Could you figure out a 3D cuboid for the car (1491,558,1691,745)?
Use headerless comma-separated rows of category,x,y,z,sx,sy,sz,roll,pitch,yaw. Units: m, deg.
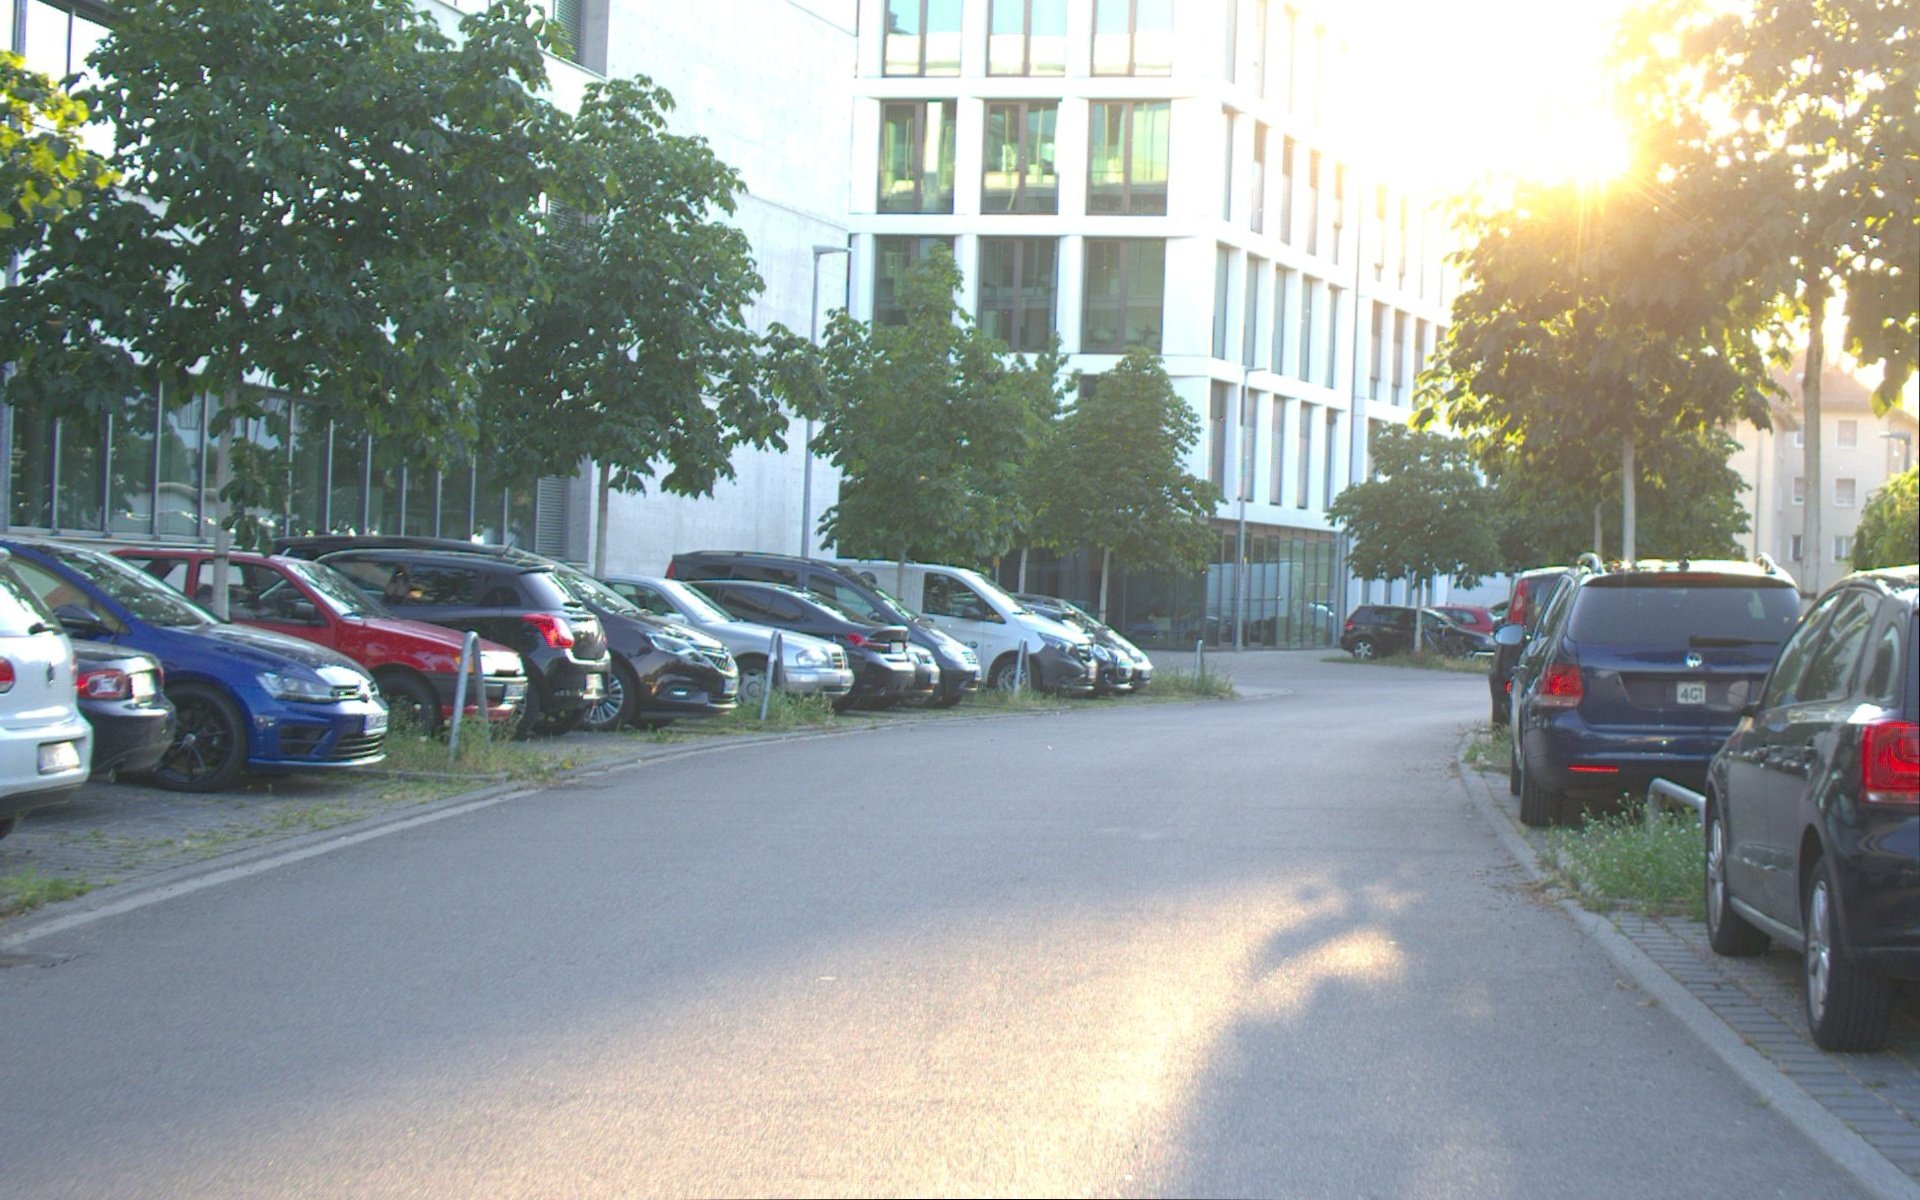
car,5.480,0.429,29.809,1.578,1.504,3.494,1,0,11

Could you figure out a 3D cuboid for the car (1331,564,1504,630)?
car,11.842,-0.074,88.938,4.054,1.474,1.766,3,1,21

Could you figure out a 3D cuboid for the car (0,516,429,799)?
car,-5.381,0.278,20.910,3.871,1.506,1.759,3,1,6

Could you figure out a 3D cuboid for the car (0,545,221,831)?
car,-5.895,0.360,17.949,3.633,1.357,1.686,3,1,1

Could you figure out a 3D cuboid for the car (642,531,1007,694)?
car,-1.705,0.152,43.826,4.249,1.736,1.724,4,0,12

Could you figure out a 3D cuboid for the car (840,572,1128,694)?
car,0.382,0.489,51.575,3.989,1.517,1.605,4,0,12

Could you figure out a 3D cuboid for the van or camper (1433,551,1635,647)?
van or camper,16.758,-0.049,100.382,5.458,2.475,1.773,3,1,21

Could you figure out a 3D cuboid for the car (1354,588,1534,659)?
car,11.862,0.551,84.147,4.053,1.474,1.766,3,2,18

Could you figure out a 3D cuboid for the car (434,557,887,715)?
car,-3.154,0.357,36.540,4.436,1.459,1.762,2,1,12

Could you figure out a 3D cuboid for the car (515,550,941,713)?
car,-2.612,0.350,38.974,4.401,1.494,1.762,4,0,16

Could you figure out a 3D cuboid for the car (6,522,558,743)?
car,-5.082,0.233,26.043,3.703,1.453,1.711,3,0,7

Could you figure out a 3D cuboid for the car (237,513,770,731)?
car,-4.030,0.186,30.717,4.310,1.690,1.896,3,0,8

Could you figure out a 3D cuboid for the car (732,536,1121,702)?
car,-0.457,0.262,48.546,5.079,1.940,1.888,4,0,13

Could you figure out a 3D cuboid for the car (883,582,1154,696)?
car,0.931,0.598,53.796,3.889,1.483,1.650,4,1,14

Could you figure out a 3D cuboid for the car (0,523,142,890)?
car,-5.896,0.336,15.293,3.987,1.506,1.760,3,1,4

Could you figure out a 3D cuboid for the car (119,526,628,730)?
car,-4.744,0.217,28.064,3.703,1.453,1.678,3,0,8

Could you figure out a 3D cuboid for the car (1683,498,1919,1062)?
car,3.454,0.488,11.201,1.740,1.546,3.639,1,1,6

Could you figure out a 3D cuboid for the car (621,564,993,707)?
car,-1.843,0.428,41.905,4.146,1.399,1.724,4,0,12

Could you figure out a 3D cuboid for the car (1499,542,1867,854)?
car,4.035,0.468,19.782,1.711,1.544,4.547,1,1,8
